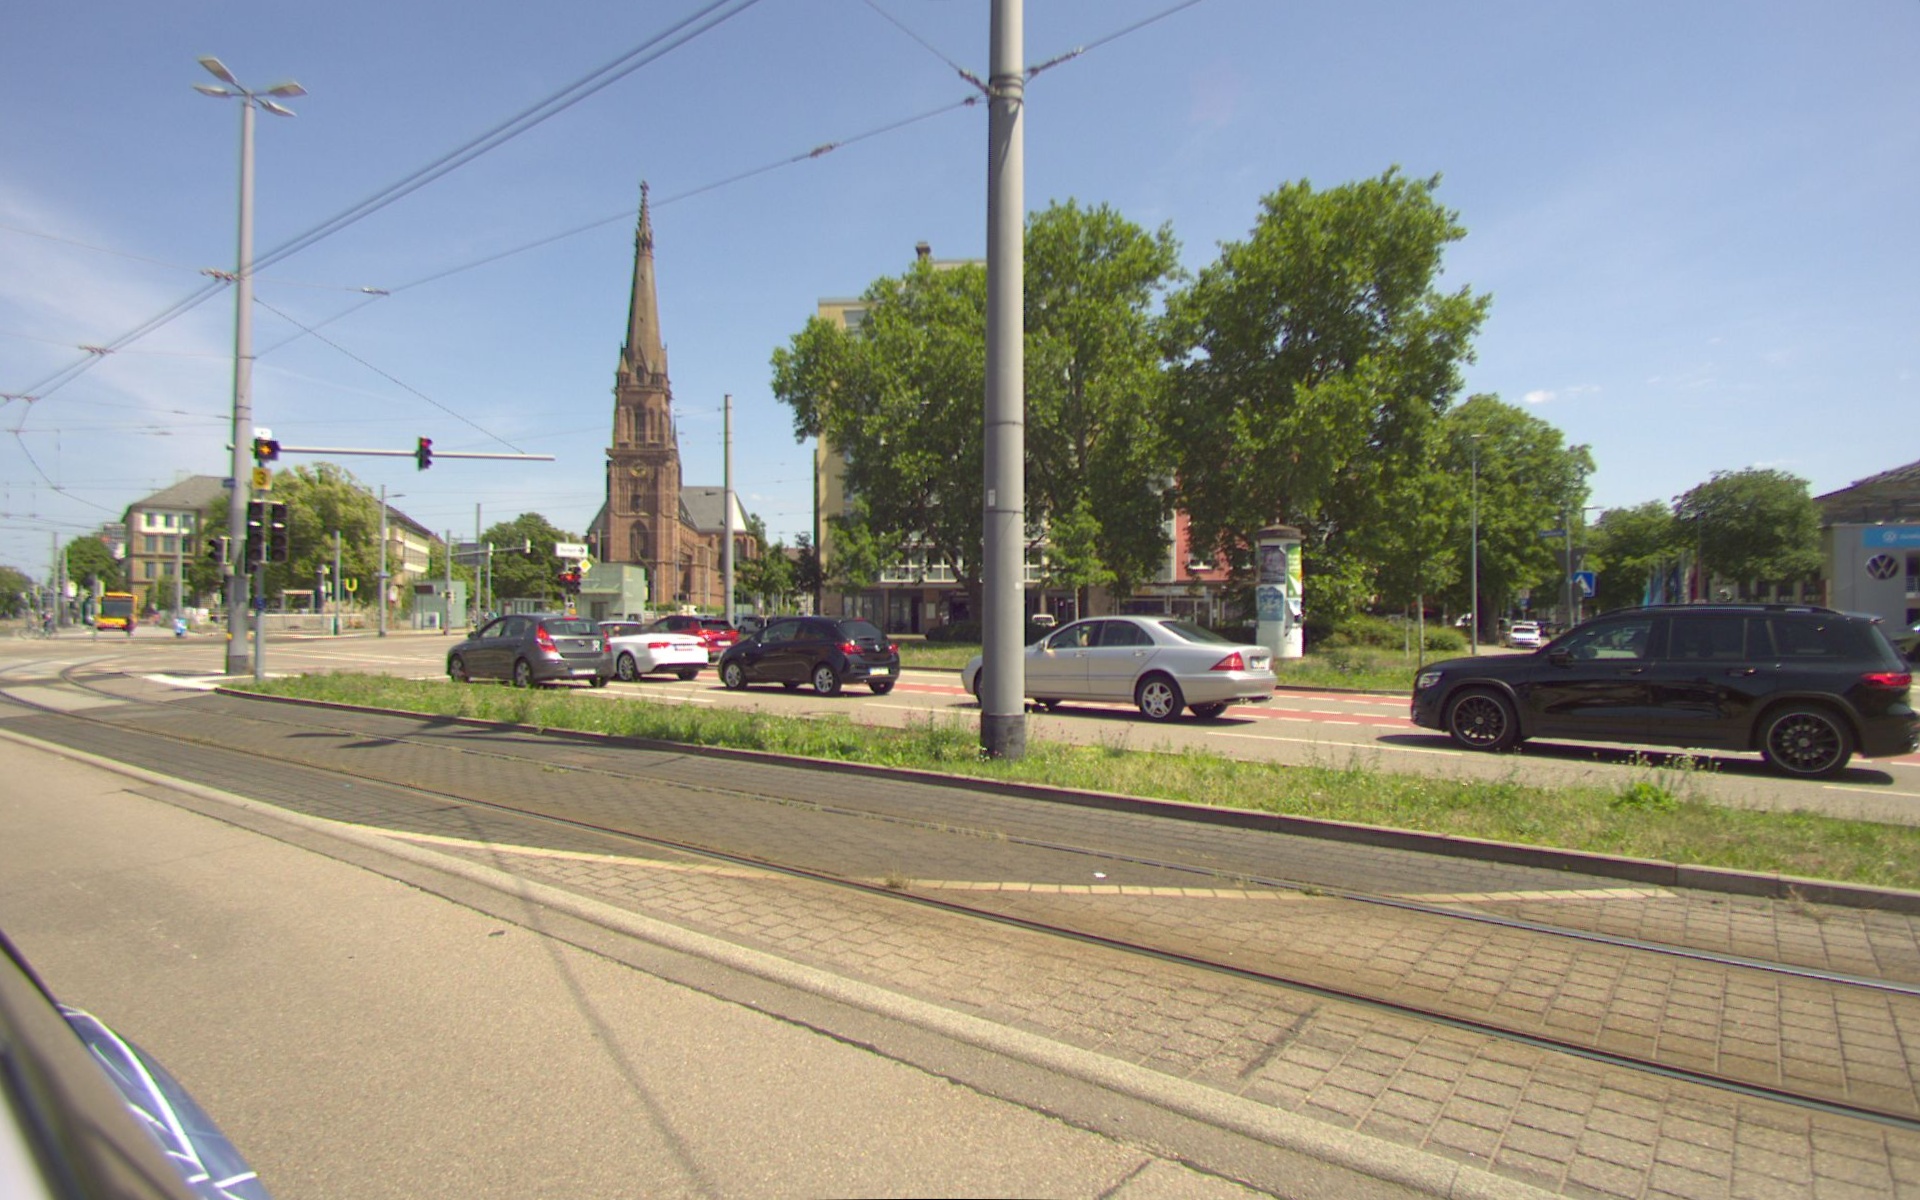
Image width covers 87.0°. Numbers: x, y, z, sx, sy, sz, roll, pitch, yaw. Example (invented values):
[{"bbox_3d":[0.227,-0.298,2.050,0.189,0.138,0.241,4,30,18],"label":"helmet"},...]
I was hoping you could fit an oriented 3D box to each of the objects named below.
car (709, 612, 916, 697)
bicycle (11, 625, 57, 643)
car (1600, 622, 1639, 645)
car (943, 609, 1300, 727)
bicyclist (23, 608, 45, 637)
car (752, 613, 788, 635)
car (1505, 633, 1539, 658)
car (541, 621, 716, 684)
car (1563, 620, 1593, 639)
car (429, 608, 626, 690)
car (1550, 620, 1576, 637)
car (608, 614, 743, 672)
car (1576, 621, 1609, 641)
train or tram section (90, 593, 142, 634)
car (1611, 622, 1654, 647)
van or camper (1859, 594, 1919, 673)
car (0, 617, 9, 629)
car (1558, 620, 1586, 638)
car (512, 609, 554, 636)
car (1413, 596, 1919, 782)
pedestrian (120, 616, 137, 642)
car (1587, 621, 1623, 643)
[{"bbox_3d":[-2.864,0.988,19.344,3.896,1.473,1.655,-1,-2,37],"label":"car"},{"bbox_3d":[-54.074,1.984,59.108,0.527,0.986,1.886,-1,-1,32],"label":"bicycle"},{"bbox_3d":[46.847,2.326,71.946,1.820,1.570,3.964,-1,-1,26],"label":"car"},{"bbox_3d":[2.369,0.938,15.608,5.122,1.542,1.975,0,-3,37],"label":"car"},{"bbox_3d":[-54.133,1.296,59.166,0.527,1.701,0.804,-1,-1,32],"label":"bicyclist"},{"bbox_3d":[-10.804,1.357,57.600,1.957,1.163,0.504,-2,1,-36],"label":"car"},{"bbox_3d":[35.174,2.799,63.377,1.536,1.444,3.966,-1,-1,25],"label":"car"},{"bbox_3d":[-7.691,1.167,23.347,4.195,1.309,1.691,0,-2,36],"label":"car"},{"bbox_3d":[53.380,2.565,87.506,1.820,1.570,3.964,-1,-1,26],"label":"car"},{"bbox_3d":[-8.819,0.968,20.504,4.324,1.491,1.825,-1,-3,38],"label":"car"},{"bbox_3d":[57.980,2.717,97.348,1.820,1.570,3.964,-1,-1,26],"label":"car"},{"bbox_3d":[-8.575,1.266,30.316,4.391,1.610,1.520,-1,-3,36],"label":"car"},{"bbox_3d":[50.884,2.473,81.511,1.820,1.570,3.964,-1,-1,26],"label":"car"},{"bbox_3d":[-71.384,1.159,85.526,2.801,3.238,9.117,1,-1,-43],"label":"train or tram section"},{"bbox_3d":[43.668,2.232,65.793,1.820,1.570,3.964,-1,-1,26],"label":"car"},{"bbox_3d":[37.678,1.270,39.061,3.978,3.026,1.983,-1,-1,26],"label":"van or camper"},{"bbox_3d":[-126.463,3.015,133.477,1.420,1.608,4.003,1,-1,-43],"label":"car"},{"bbox_3d":[55.825,2.642,92.420,1.820,1.570,3.964,-1,-1,26],"label":"car"},{"bbox_3d":[-26.795,1.403,63.616,1.315,1.586,3.388,-1,0,-2],"label":"car"},{"bbox_3d":[7.520,0.833,10.909,4.521,1.639,1.803,-1,-2,40],"label":"car"},{"bbox_3d":[-52.847,1.833,64.321,0.446,1.684,0.652,-1,-1,21],"label":"pedestrian"},{"bbox_3d":[48.671,2.394,76.386,1.820,1.570,3.964,-1,-1,26],"label":"car"}]
